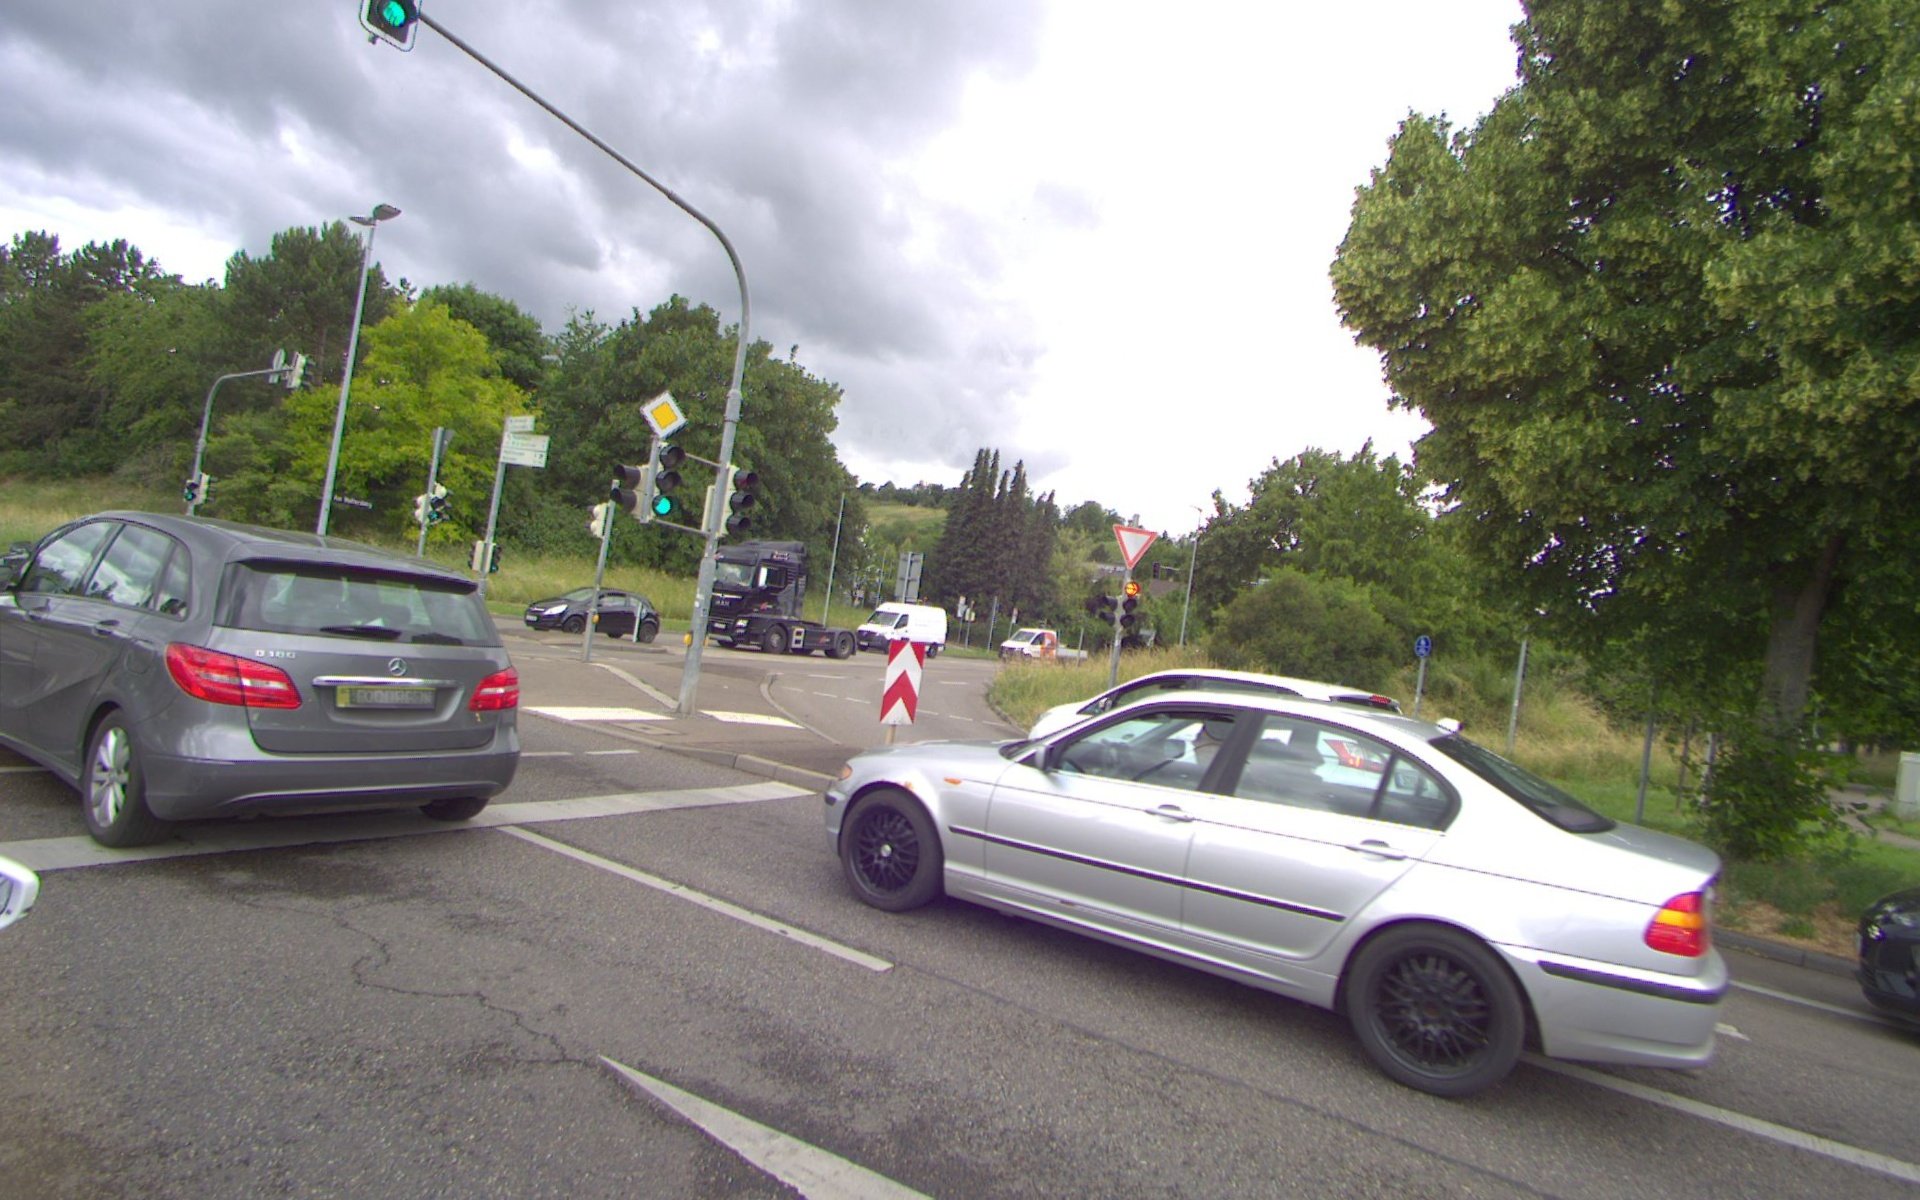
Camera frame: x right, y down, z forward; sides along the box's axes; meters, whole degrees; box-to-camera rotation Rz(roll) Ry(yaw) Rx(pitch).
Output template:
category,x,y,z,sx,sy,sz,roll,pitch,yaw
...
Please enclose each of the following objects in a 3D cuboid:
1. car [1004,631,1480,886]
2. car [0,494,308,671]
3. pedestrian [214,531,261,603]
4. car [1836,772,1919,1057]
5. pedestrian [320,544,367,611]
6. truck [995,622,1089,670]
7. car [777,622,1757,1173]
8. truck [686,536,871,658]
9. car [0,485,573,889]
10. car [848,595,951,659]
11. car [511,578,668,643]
category,x,y,z,sx,sy,sz,roll,pitch,yaw
car,2.594,1.440,10.240,1.752,1.673,4.325,10,-3,-37
car,-9.822,-0.253,11.902,4.283,1.502,1.750,8,-1,32
pedestrian,-18.186,-0.828,25.324,0.703,1.681,0.644,6,-1,39
car,7.154,2.019,5.370,3.511,1.524,1.603,6,-2,38
pedestrian,-15.977,-0.588,26.073,0.703,1.630,0.644,6,-1,37
truck,5.114,2.850,62.040,6.008,2.255,2.135,9,-3,-44
car,1.286,1.123,5.283,4.219,1.398,1.750,7,-2,32
truck,-6.221,0.007,35.362,2.648,3.527,6.004,6,-1,34
car,-4.300,0.292,5.863,3.936,1.525,1.749,7,-2,34
car,-3.005,1.462,51.904,1.968,2.660,5.814,6,-2,34
car,-10.551,0.349,28.888,1.669,1.353,3.882,6,-3,34
